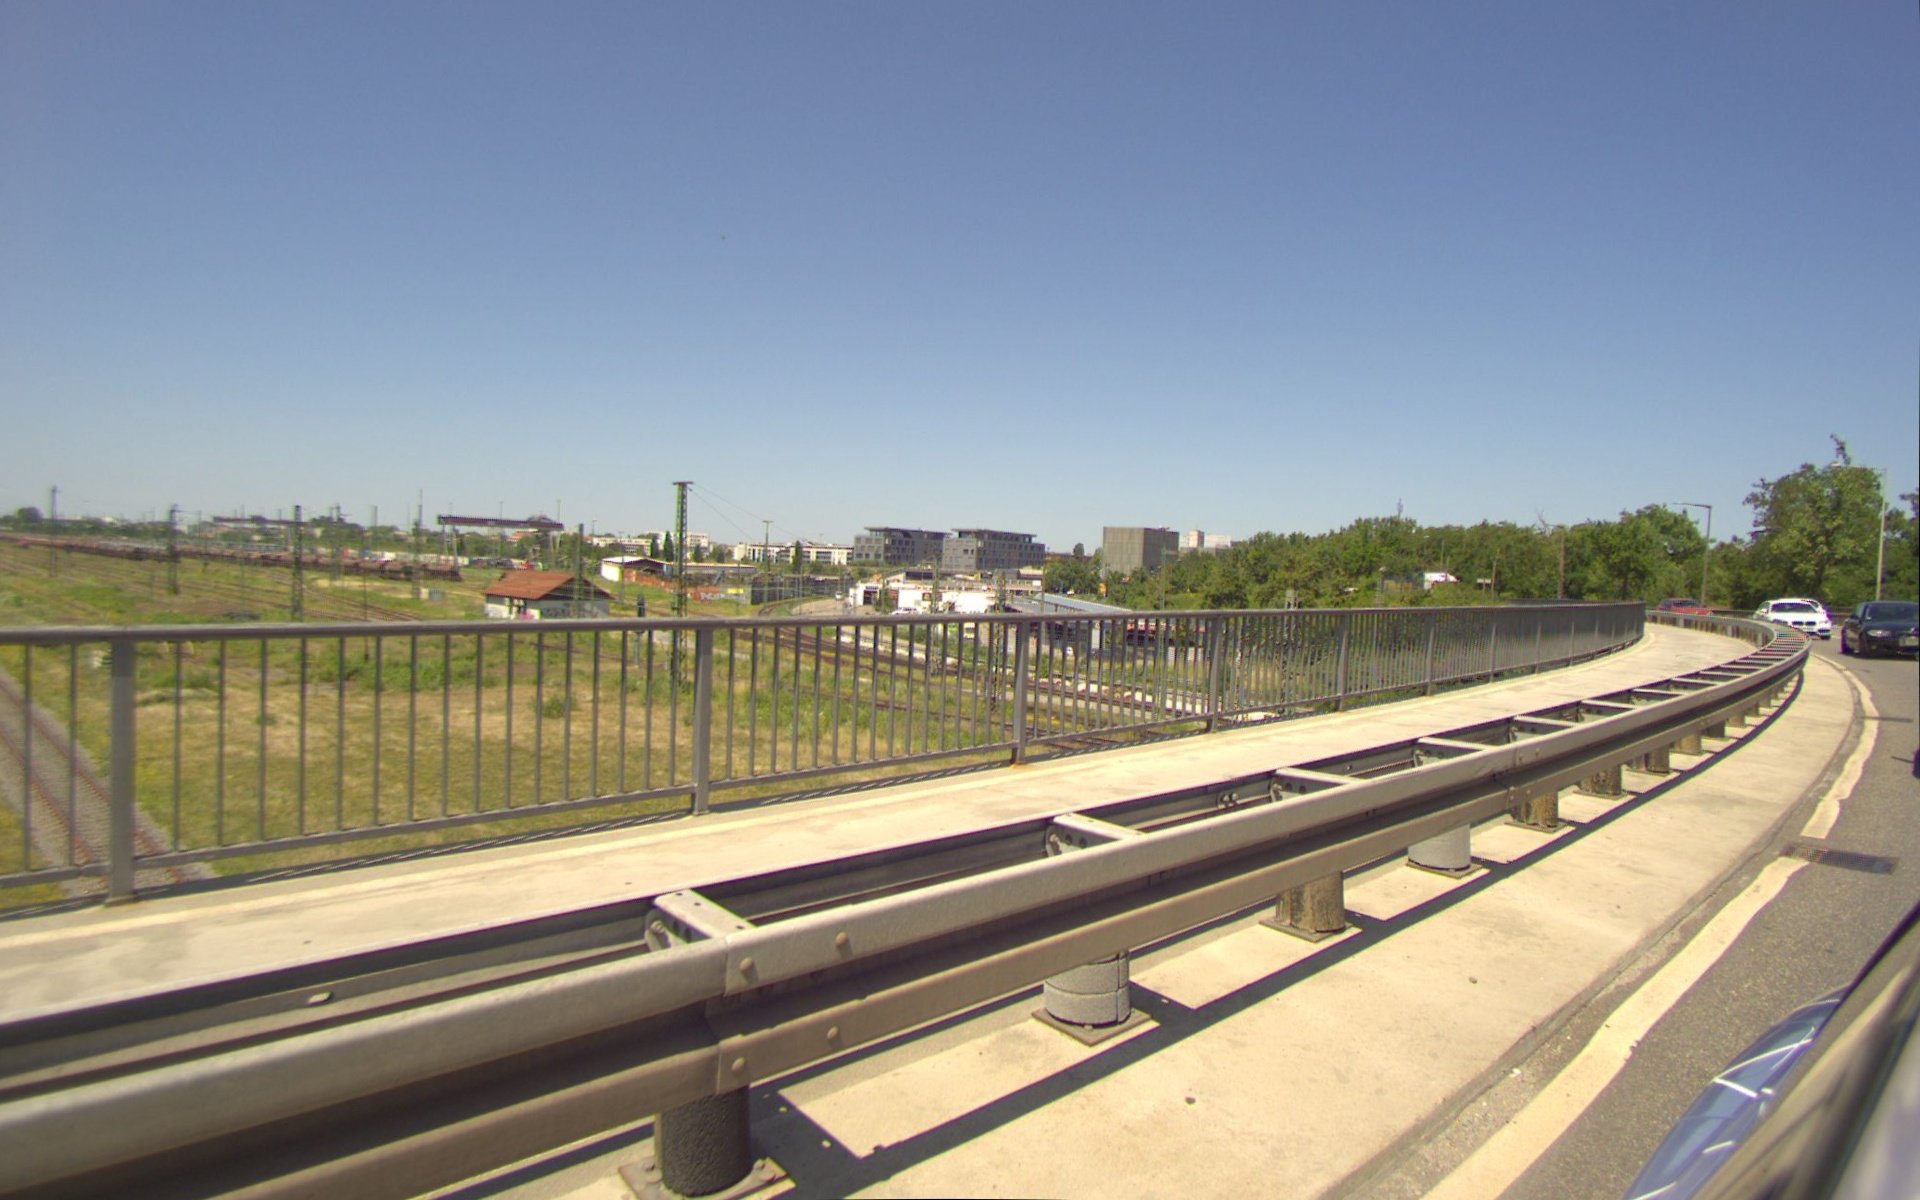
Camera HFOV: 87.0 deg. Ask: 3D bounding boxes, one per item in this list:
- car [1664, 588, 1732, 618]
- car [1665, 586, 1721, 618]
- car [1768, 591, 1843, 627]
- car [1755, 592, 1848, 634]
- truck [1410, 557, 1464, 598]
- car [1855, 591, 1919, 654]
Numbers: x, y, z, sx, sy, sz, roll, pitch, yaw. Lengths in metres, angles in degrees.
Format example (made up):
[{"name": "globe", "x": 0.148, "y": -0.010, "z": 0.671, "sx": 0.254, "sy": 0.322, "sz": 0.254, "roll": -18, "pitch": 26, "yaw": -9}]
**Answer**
[{"name": "car", "x": 39.384, "y": 0.117, "z": 54.106, "sx": 1.774, "sy": 1.473, "sz": 4.493, "roll": 1, "pitch": 1, "yaw": 20}, {"name": "car", "x": 48.097, "y": 0.118, "z": 66.489, "sx": 1.976, "sy": 2.039, "sz": 3.971, "roll": 0, "pitch": 0, "yaw": 21}, {"name": "car", "x": 40.760, "y": 0.400, "z": 48.885, "sx": 1.681, "sy": 1.627, "sz": 3.967, "roll": 2, "pitch": 1, "yaw": 24}, {"name": "car", "x": 31.373, "y": 0.436, "z": 37.850, "sx": 1.779, "sy": 1.473, "sz": 4.478, "roll": 0, "pitch": 0, "yaw": 28}, {"name": "truck", "x": 50.938, "y": -2.346, "z": 108.221, "sx": 2.647, "sy": 4.282, "sz": 6.835, "roll": -1, "pitch": 0, "yaw": 2}, {"name": "car", "x": 23.887, "y": 0.510, "z": 25.385, "sx": 1.785, "sy": 1.473, "sz": 4.462, "roll": 0, "pitch": 1, "yaw": 37}]
